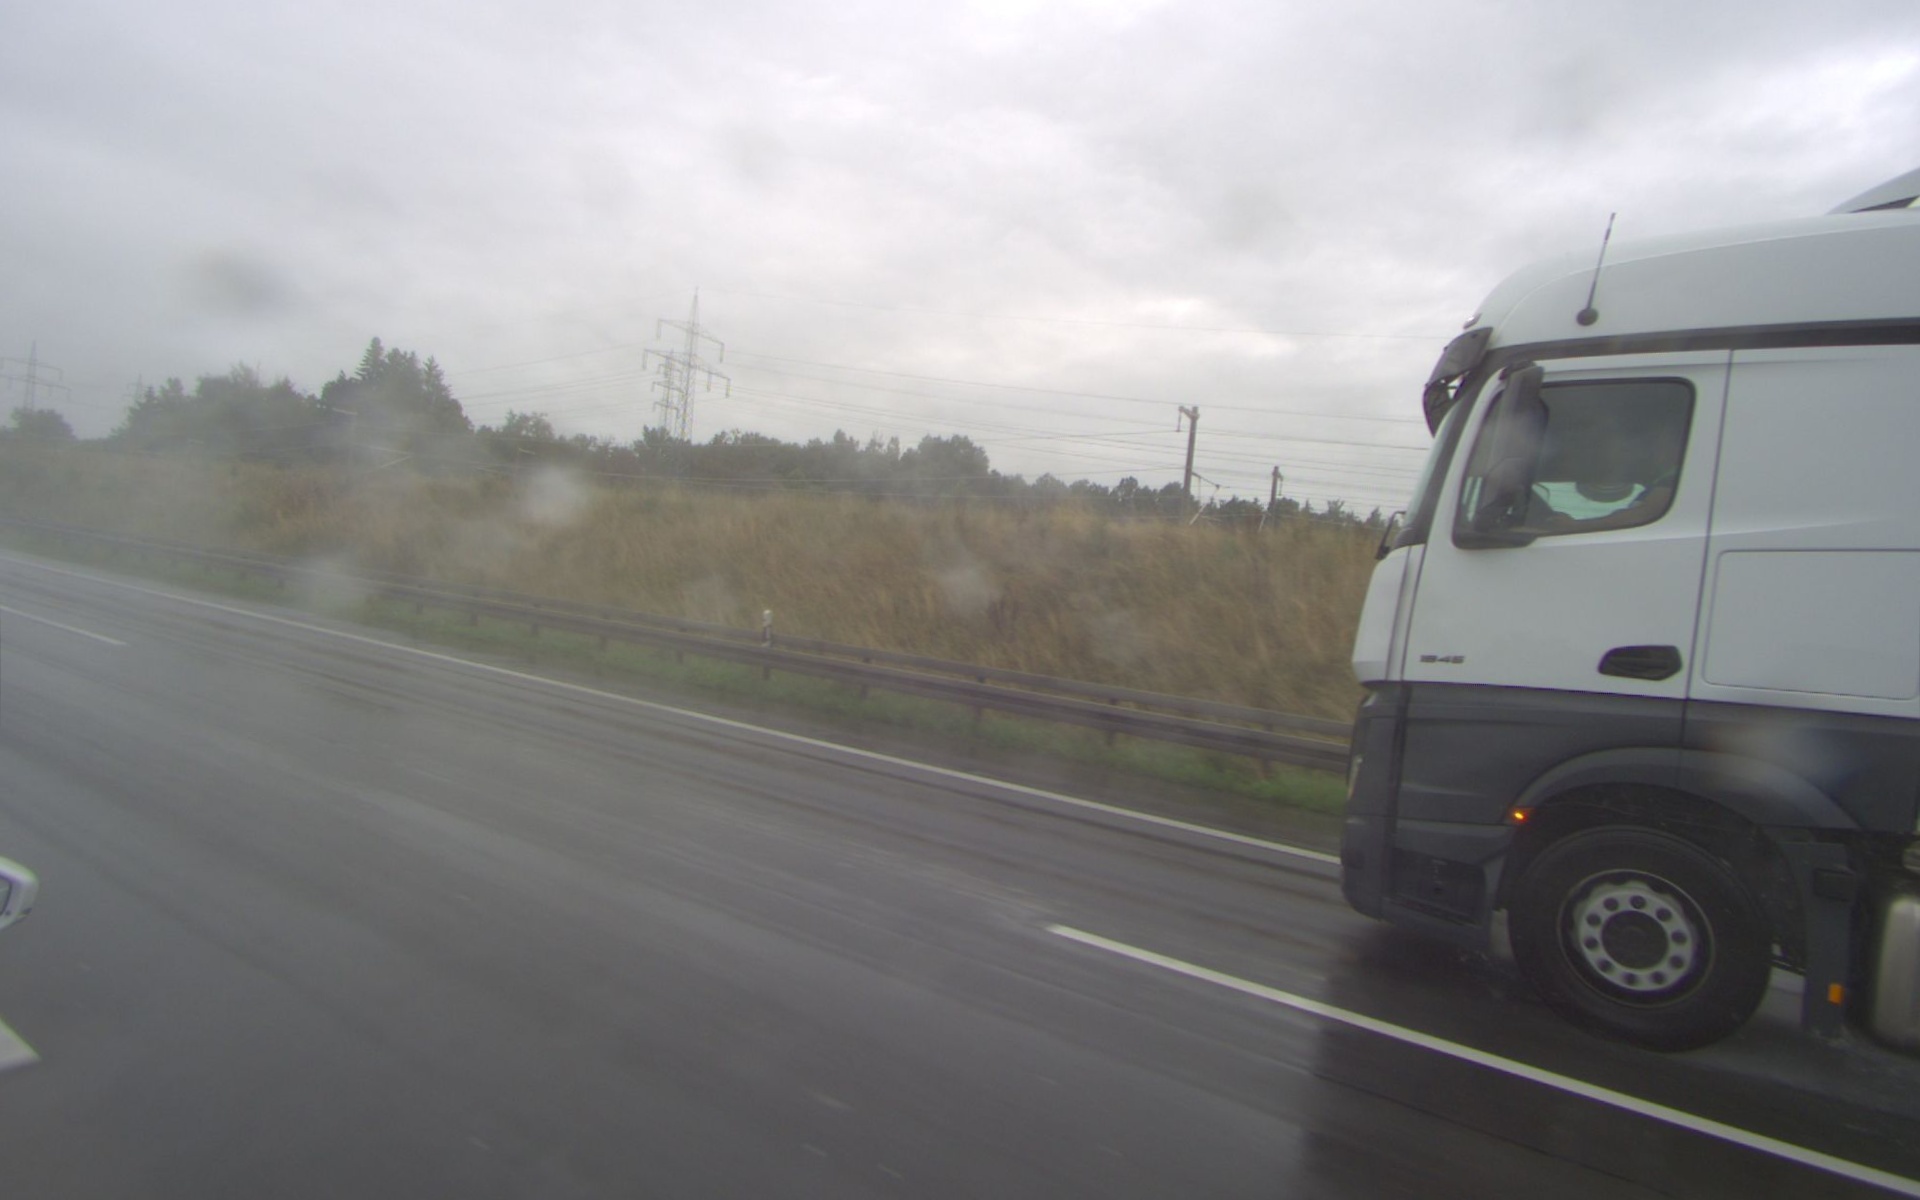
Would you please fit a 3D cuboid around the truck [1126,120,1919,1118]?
[{"bbox_3d":[4.362,0.136,5.055,6.096,3.935,2.456,6,-1,32],"label":"truck"}]

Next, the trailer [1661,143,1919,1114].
[{"bbox_3d":[10.949,0.914,1.073,16.267,3.810,2.485,6,-1,31],"label":"trailer"}]
